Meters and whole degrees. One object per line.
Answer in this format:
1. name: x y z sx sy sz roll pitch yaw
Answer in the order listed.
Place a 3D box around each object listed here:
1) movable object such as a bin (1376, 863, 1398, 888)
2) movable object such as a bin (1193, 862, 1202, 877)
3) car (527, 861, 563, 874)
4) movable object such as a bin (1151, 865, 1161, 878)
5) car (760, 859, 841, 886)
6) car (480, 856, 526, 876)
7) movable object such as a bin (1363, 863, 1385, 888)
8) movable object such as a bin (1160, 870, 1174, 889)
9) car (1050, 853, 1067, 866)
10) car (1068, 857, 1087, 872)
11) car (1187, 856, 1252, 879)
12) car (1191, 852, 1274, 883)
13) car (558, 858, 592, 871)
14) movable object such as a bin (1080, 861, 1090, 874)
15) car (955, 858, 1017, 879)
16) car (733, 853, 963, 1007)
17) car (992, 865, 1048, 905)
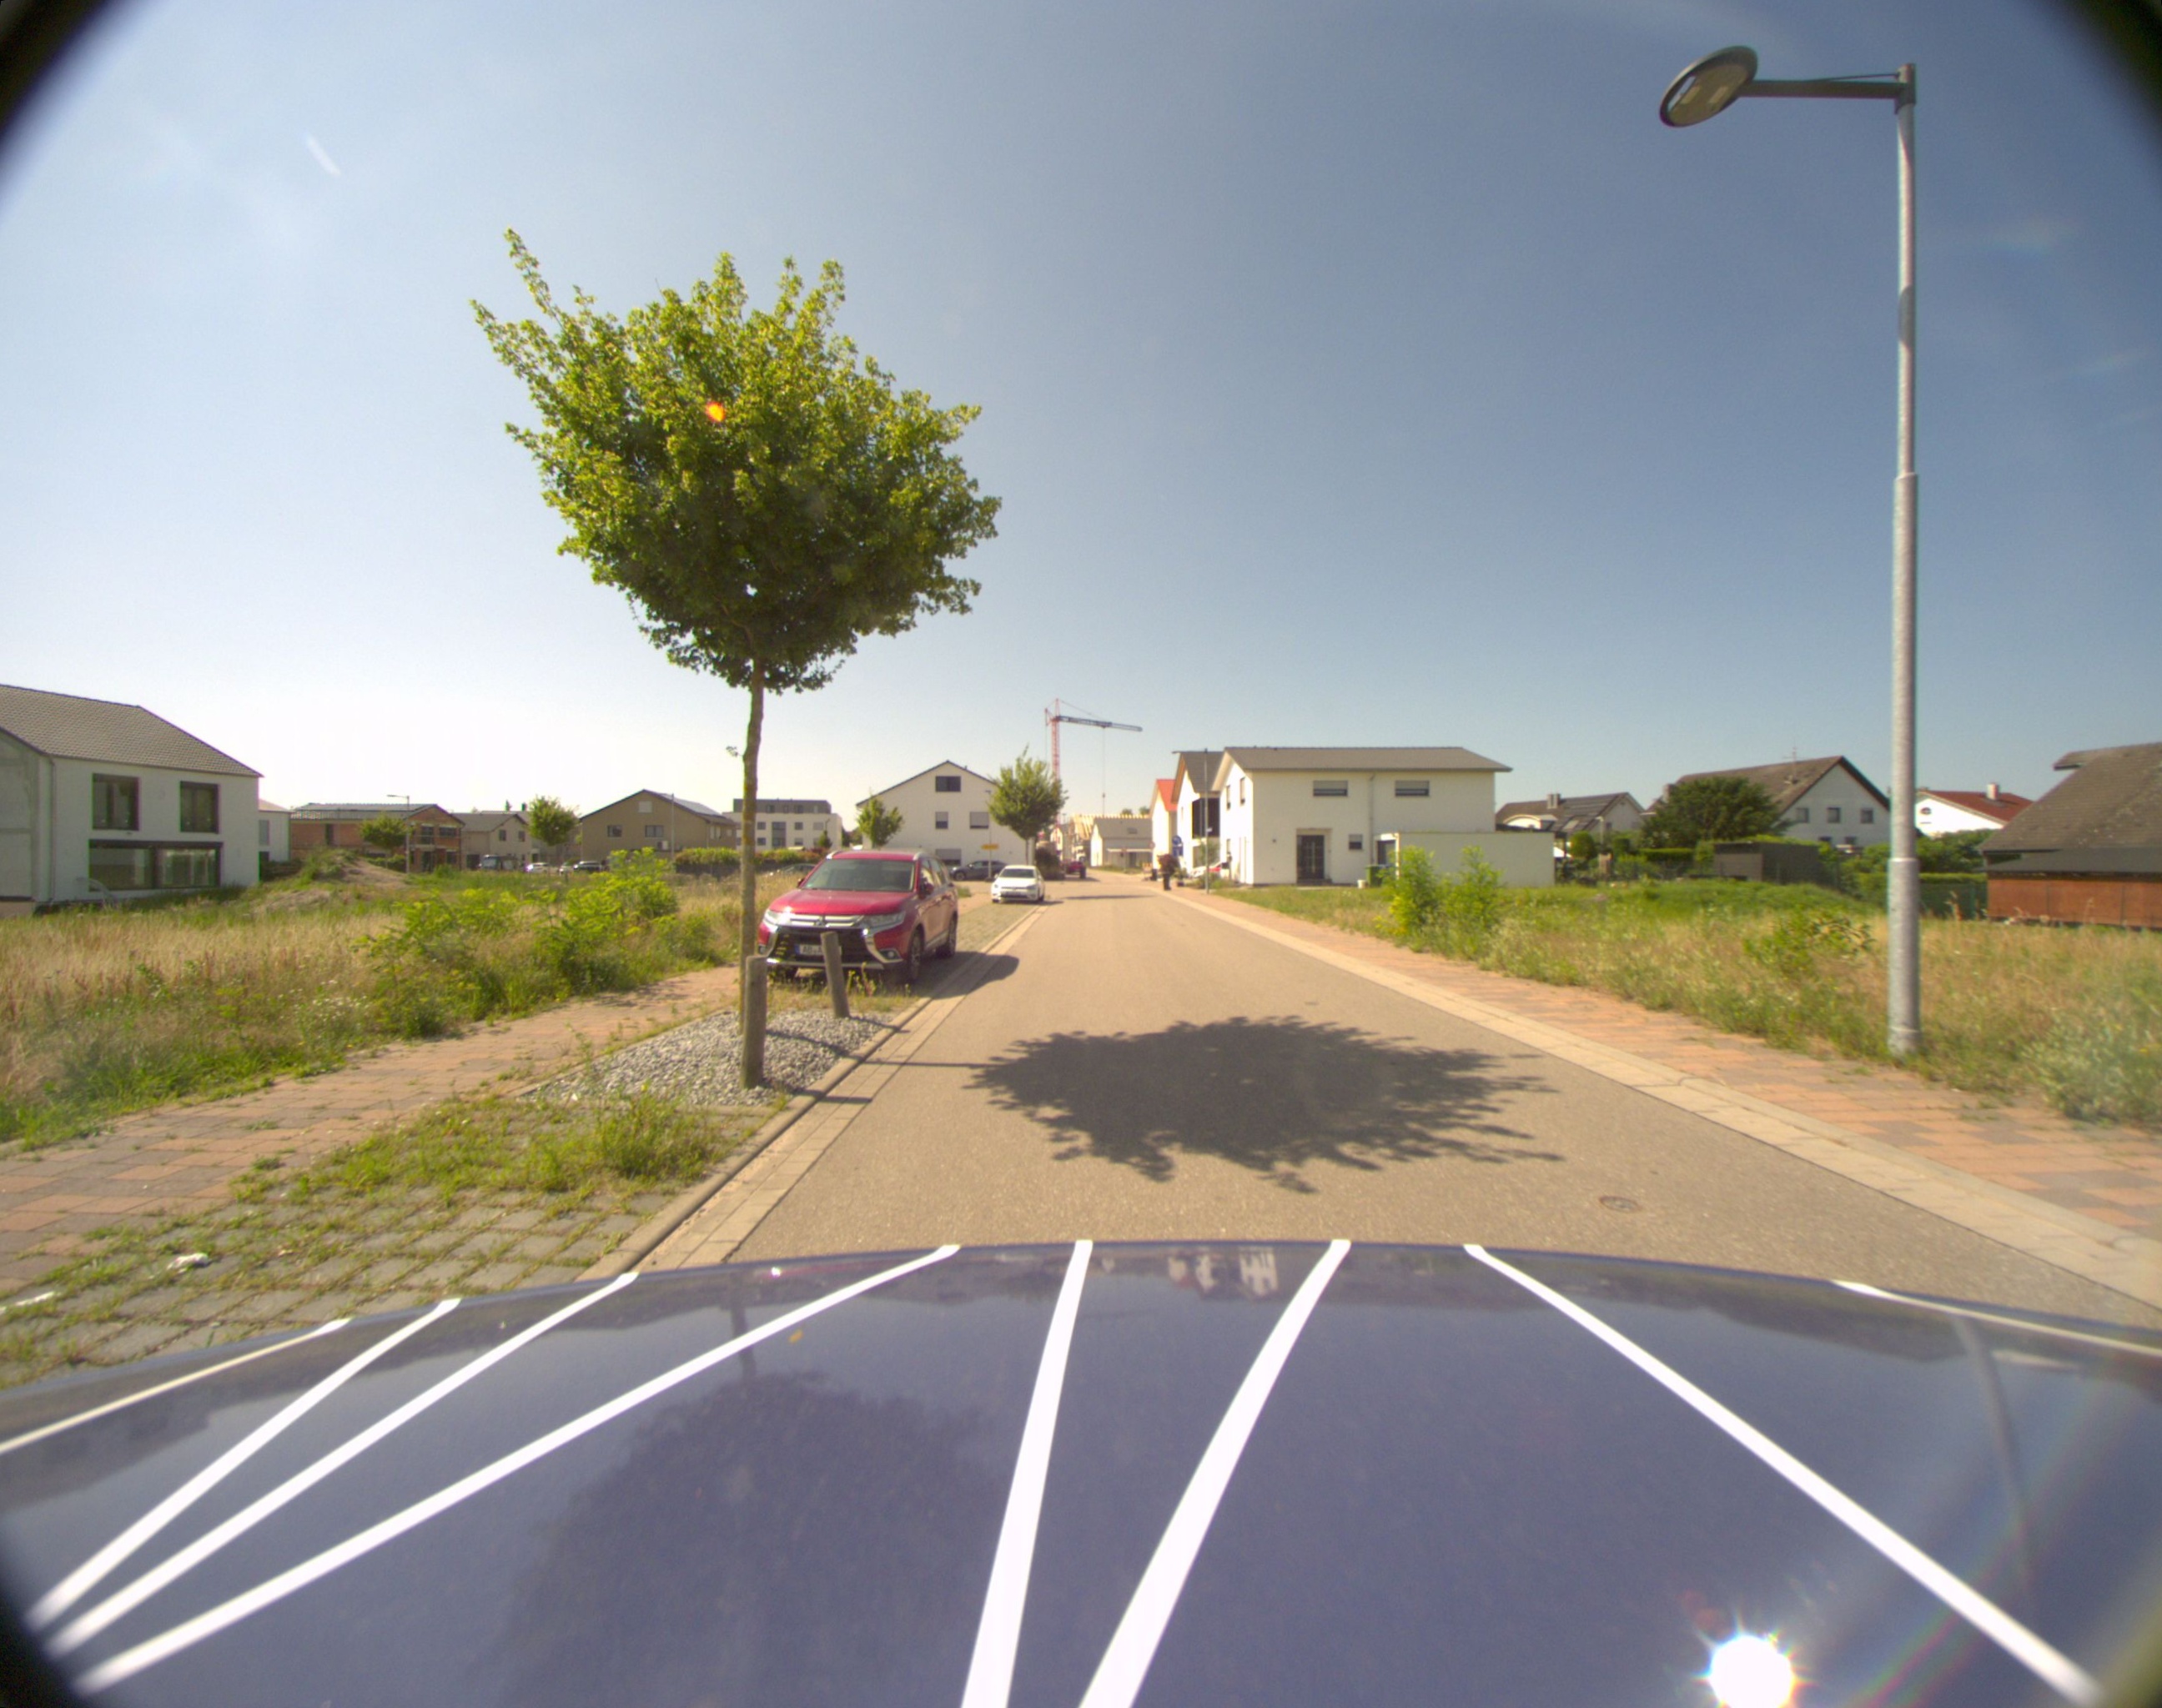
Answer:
1. movable object such as a bin: 13.810 0.957 34.324 0.671 1.092 0.808 1 0 2
2. movable object such as a bin: 8.668 1.149 56.648 0.500 1.085 0.602 -1 -1 -4
3. car: -59.553 1.466 84.474 1.667 1.392 3.917 0 0 -8
4. movable object such as a bin: 5.507 1.285 55.933 0.618 0.931 0.564 -1 0 -4
5. car: -16.904 1.095 45.953 4.193 1.485 1.848 -1 1 -6
6. car: -58.748 1.189 77.335 2.000 2.002 3.997 0 0 -8
7. movable object such as a bin: 13.182 0.962 34.203 0.661 1.092 0.785 1 0 0
8. movable object such as a bin: 4.413 1.311 39.086 0.625 0.943 0.500 -1 1 -4
9. car: -3.082 0.718 103.219 1.804 1.609 3.672 0 1 -10
10. car: -0.412 1.129 83.750 1.911 1.470 3.998 0 1 -4
11. car: 9.720 0.946 53.501 4.164 1.553 1.744 0 0 -5
12. car: 9.357 0.820 47.230 4.749 1.864 1.938 0 0 -2
13. car: -60.412 1.249 90.800 1.750 1.493 3.997 0 0 -8
14. movable object such as a bin: 0.304 1.158 65.806 0.823 1.058 0.589 -1 1 -4
15. car: -6.973 1.067 56.195 4.348 1.549 1.960 0 -1 -1
16. car: -2.873 0.850 10.472 1.781 1.653 4.434 1 0 0
17. car: -2.360 1.189 30.229 1.779 1.411 4.166 1 0 1
